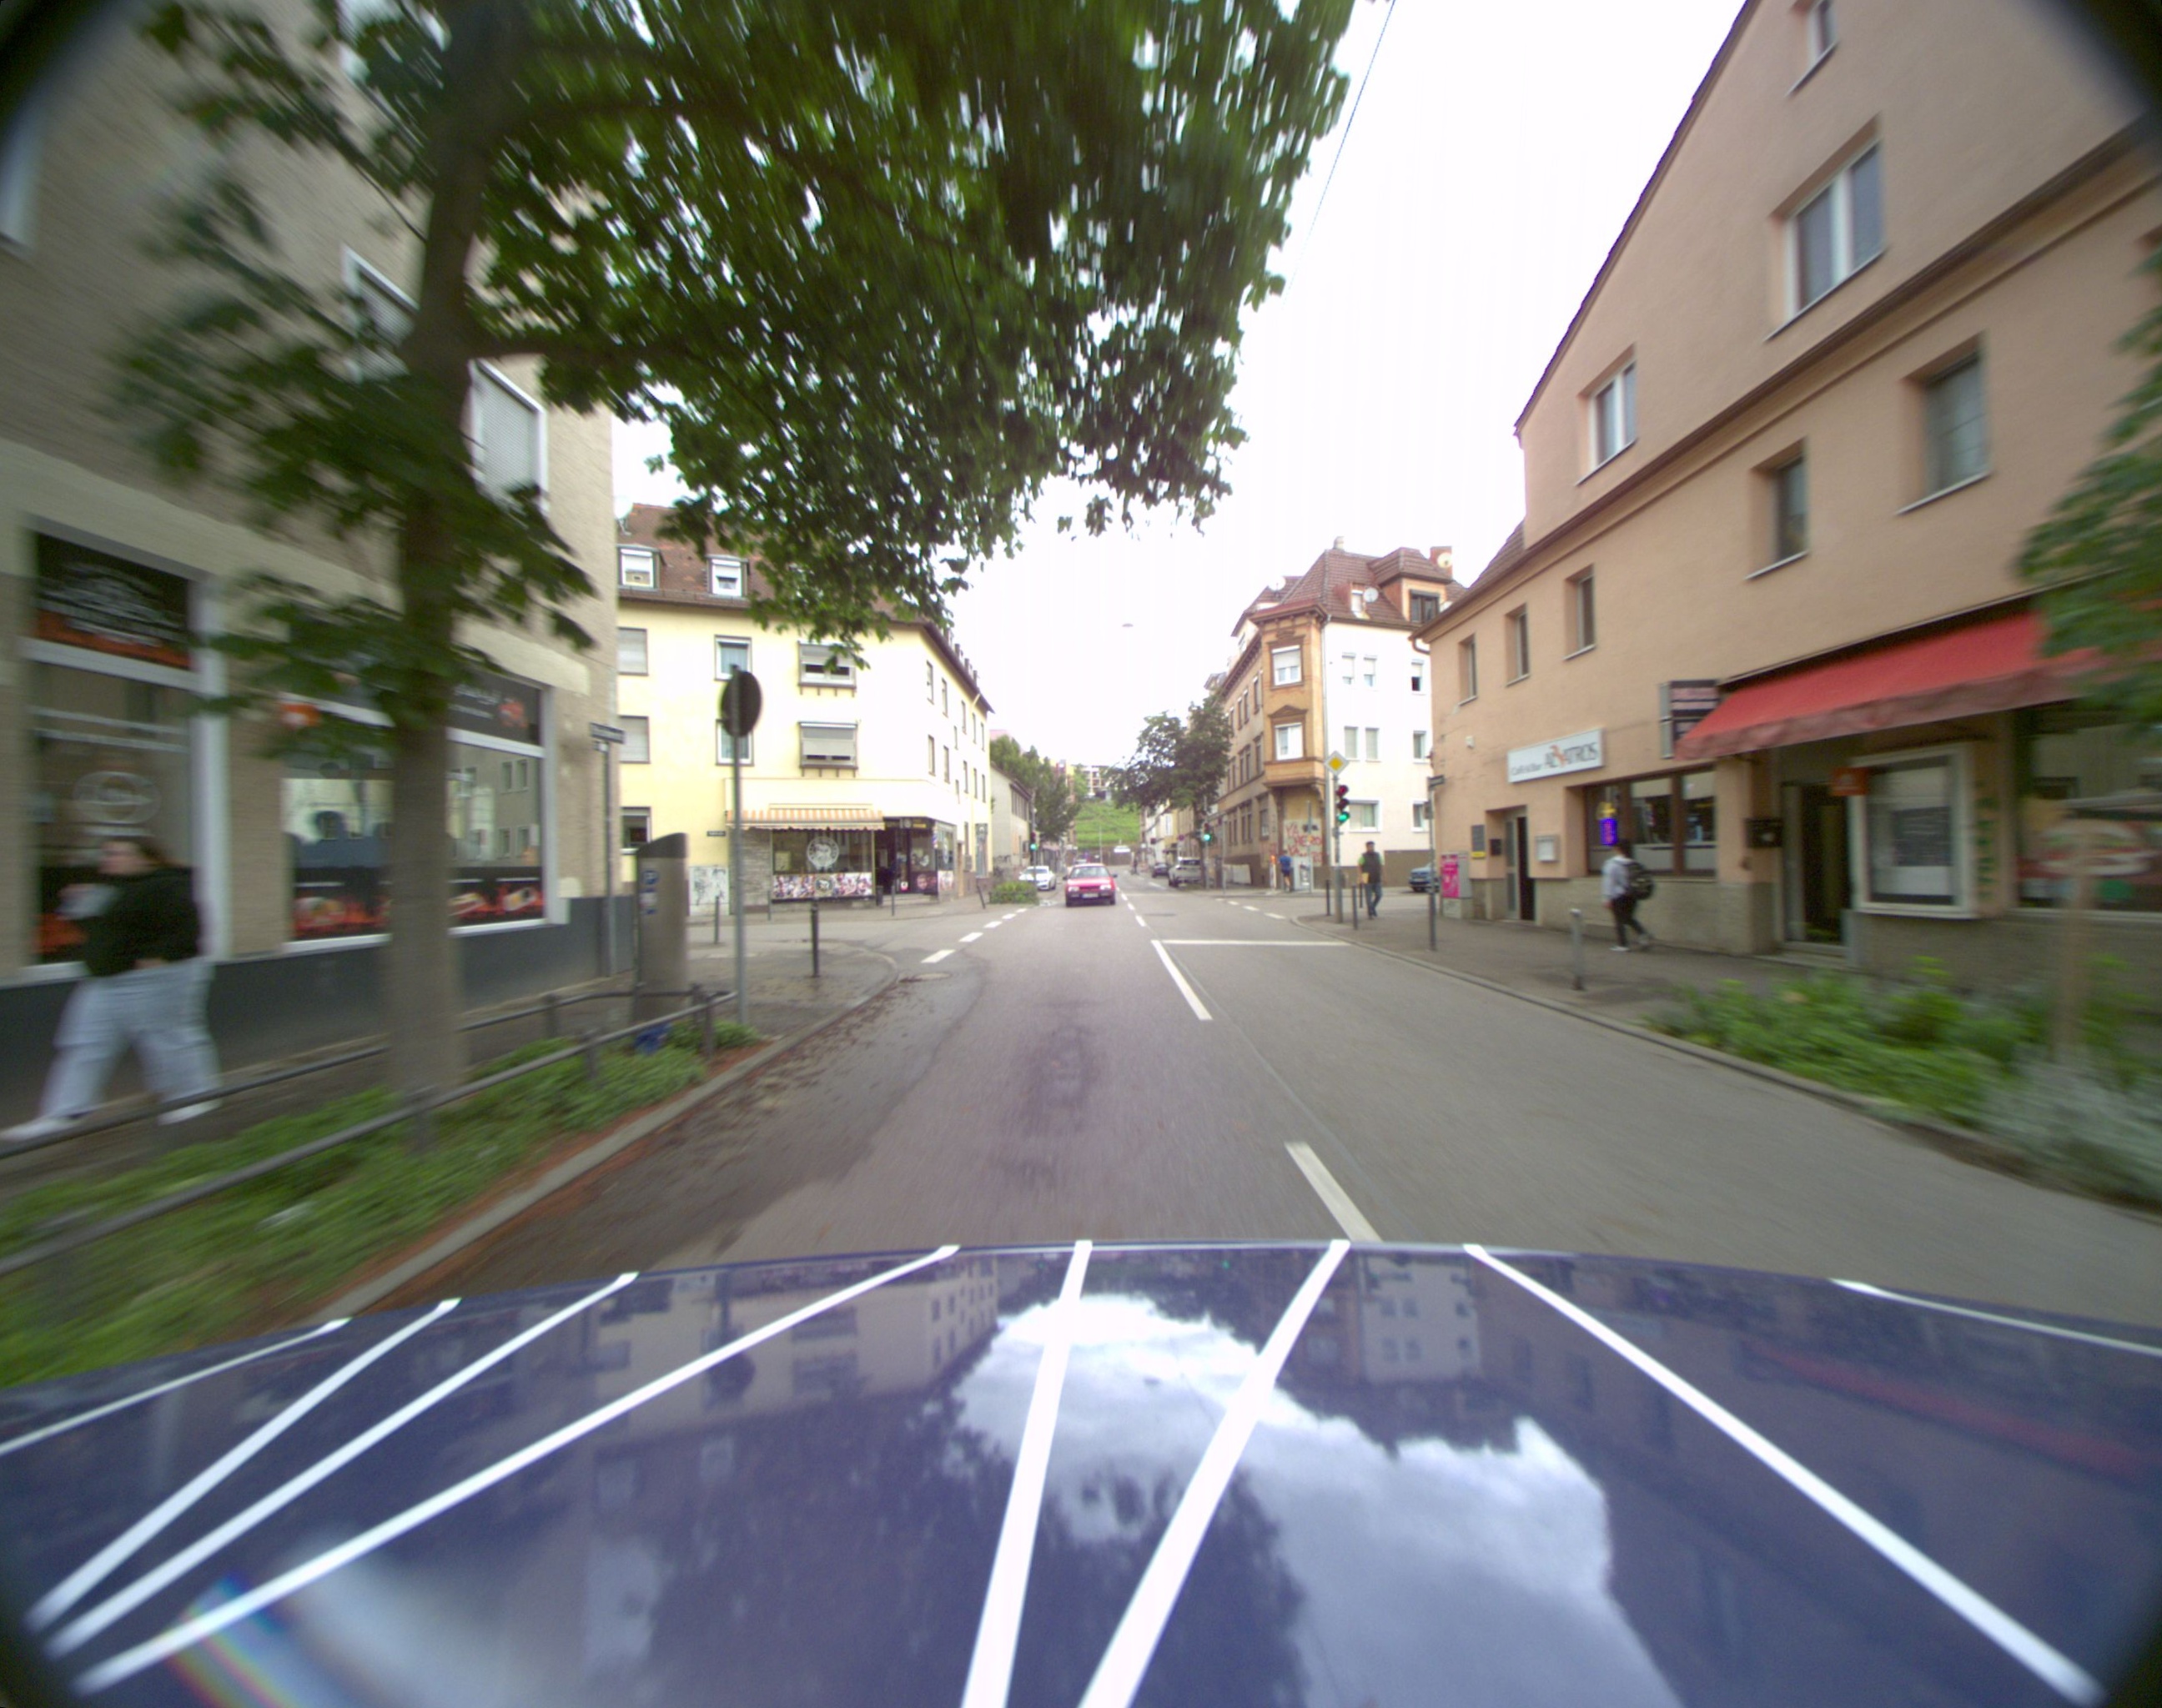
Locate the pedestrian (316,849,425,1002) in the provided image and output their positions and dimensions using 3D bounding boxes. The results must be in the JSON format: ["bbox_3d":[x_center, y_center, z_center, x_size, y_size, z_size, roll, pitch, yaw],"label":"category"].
[{"bbox_3d":[-7.516,0.736,8.059,0.568,1.551,0.521,-3,1,1],"label":"pedestrian"}]

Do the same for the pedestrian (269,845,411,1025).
[{"bbox_3d":[-6.751,0.707,6.953,0.568,1.551,0.655,-3,1,1],"label":"pedestrian"}]

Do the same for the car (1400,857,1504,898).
[{"bbox_3d":[15.482,0.954,31.750,3.726,1.542,1.772,-1,0,-20],"label":"car"}]

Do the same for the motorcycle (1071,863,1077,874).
[{"bbox_3d":[-0.868,1.773,94.007,0.648,1.219,2.337,-3,0,2],"label":"motorcycle"}]

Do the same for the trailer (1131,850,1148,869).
[{"bbox_3d":[8.575,0.821,112.038,2.450,2.787,6.304,0,0,3],"label":"trailer"}]

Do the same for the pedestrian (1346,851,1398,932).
[{"bbox_3d":[6.548,0.817,17.131,0.740,1.744,0.983,-2,0,1],"label":"pedestrian"}]

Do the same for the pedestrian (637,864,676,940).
[{"bbox_3d":[-9.631,1.056,17.230,0.677,1.654,0.799,-1,1,-35],"label":"pedestrian"}]

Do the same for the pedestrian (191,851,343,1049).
[{"bbox_3d":[-6.737,0.766,6.317,0.568,1.551,0.556,-3,1,1],"label":"pedestrian"}]

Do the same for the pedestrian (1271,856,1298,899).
[{"bbox_3d":[8.409,0.952,31.433,0.740,1.708,1.156,-2,0,-2],"label":"pedestrian"}]

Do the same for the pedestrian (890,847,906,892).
[{"bbox_3d":[-7.137,0.601,29.630,0.397,1.764,0.386,-3,1,-32],"label":"pedestrian"}]

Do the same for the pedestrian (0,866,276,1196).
[{"bbox_3d":[-5.394,0.895,4.299,0.616,1.643,0.982,-1,0,0],"label":"pedestrian"}]

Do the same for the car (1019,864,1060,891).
[{"bbox_3d":[-2.400,1.361,45.311,1.771,1.457,4.785,-2,0,4],"label":"car"}]

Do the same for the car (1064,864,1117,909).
[{"bbox_3d":[0.417,1.078,26.651,1.626,1.387,4.001,-2,0,3],"label":"car"}]

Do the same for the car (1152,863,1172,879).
[{"bbox_3d":[7.410,1.512,69.830,1.582,1.374,4.355,0,0,2],"label":"car"}]

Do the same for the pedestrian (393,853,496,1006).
[{"bbox_3d":[-6.732,0.778,8.059,0.568,1.551,0.521,-3,1,1],"label":"pedestrian"}]

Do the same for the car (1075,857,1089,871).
[{"bbox_3d":[0.148,1.531,115.532,1.998,1.970,4.878,-2,0,1],"label":"car"}]

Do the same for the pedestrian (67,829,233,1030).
[{"bbox_3d":[-7.580,0.590,6.210,0.568,1.551,0.561,-3,1,1],"label":"pedestrian"}]

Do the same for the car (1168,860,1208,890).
[{"bbox_3d":[6.290,1.203,45.165,1.895,1.702,4.742,0,0,2],"label":"car"}]

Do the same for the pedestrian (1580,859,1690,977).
[{"bbox_3d":[7.613,0.847,10.485,0.740,1.526,0.982,-2,0,-1],"label":"pedestrian"}]
